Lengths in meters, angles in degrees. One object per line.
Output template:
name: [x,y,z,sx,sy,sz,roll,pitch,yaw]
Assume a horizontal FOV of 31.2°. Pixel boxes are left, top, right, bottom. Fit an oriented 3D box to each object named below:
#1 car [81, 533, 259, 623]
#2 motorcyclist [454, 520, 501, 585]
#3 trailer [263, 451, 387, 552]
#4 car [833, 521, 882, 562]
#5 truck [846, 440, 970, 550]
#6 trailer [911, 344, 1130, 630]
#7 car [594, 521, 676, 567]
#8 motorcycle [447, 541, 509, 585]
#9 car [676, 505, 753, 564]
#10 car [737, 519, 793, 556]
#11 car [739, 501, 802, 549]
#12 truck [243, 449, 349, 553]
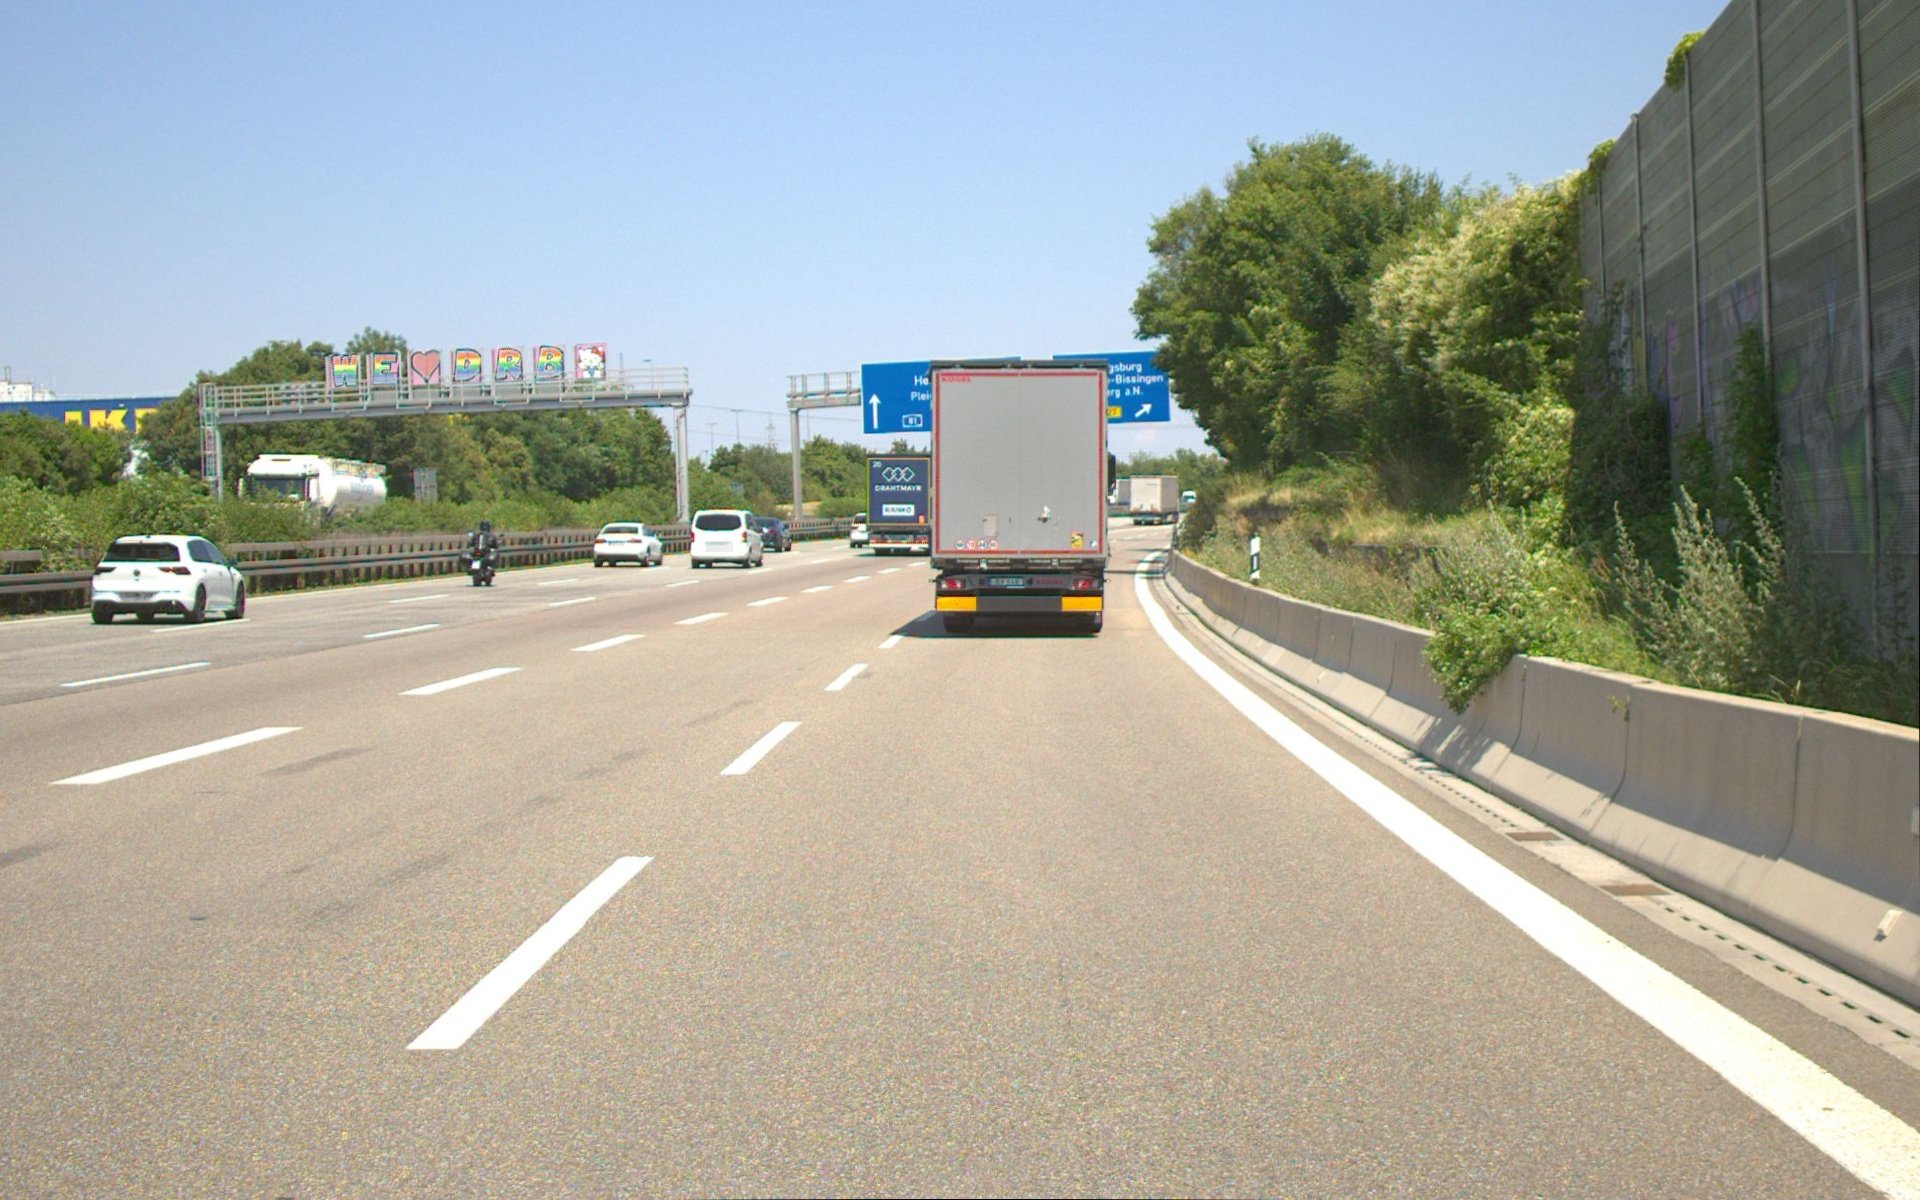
car: [-13.102,-0.389,57.291,1.782,1.435,4.669,0,1,1]
motorcyclist: [-11.984,-1.170,85.400,0.893,1.591,1.299,0,0,5]
trailer: [-25.228,-3.918,137.038,2.690,3.875,9.734,0,1,3]
car: [-4.808,-2.749,161.734,1.904,1.845,4.631,-1,1,3]
truck: [-2.024,-4.310,141.716,3.747,4.255,14.494,0,2,4]
trailer: [1.153,-1.676,54.696,2.928,4.002,12.037,-1,1,3]
car: [-10.731,-1.836,113.734,1.877,1.435,5.125,0,0,4]
motorcycle: [-11.974,-0.911,85.458,0.913,1.085,2.849,0,0,5]
car: [-7.925,-2.131,111.307,1.931,1.845,4.692,-1,1,2]
car: [-8.344,-2.653,147.250,1.757,1.404,5.039,-1,-1,4]
car: [-7.548,-2.990,137.549,1.877,1.800,5.125,0,0,4]
truck: [-25.463,-3.792,132.106,2.695,3.875,5.745,0,1,3]
